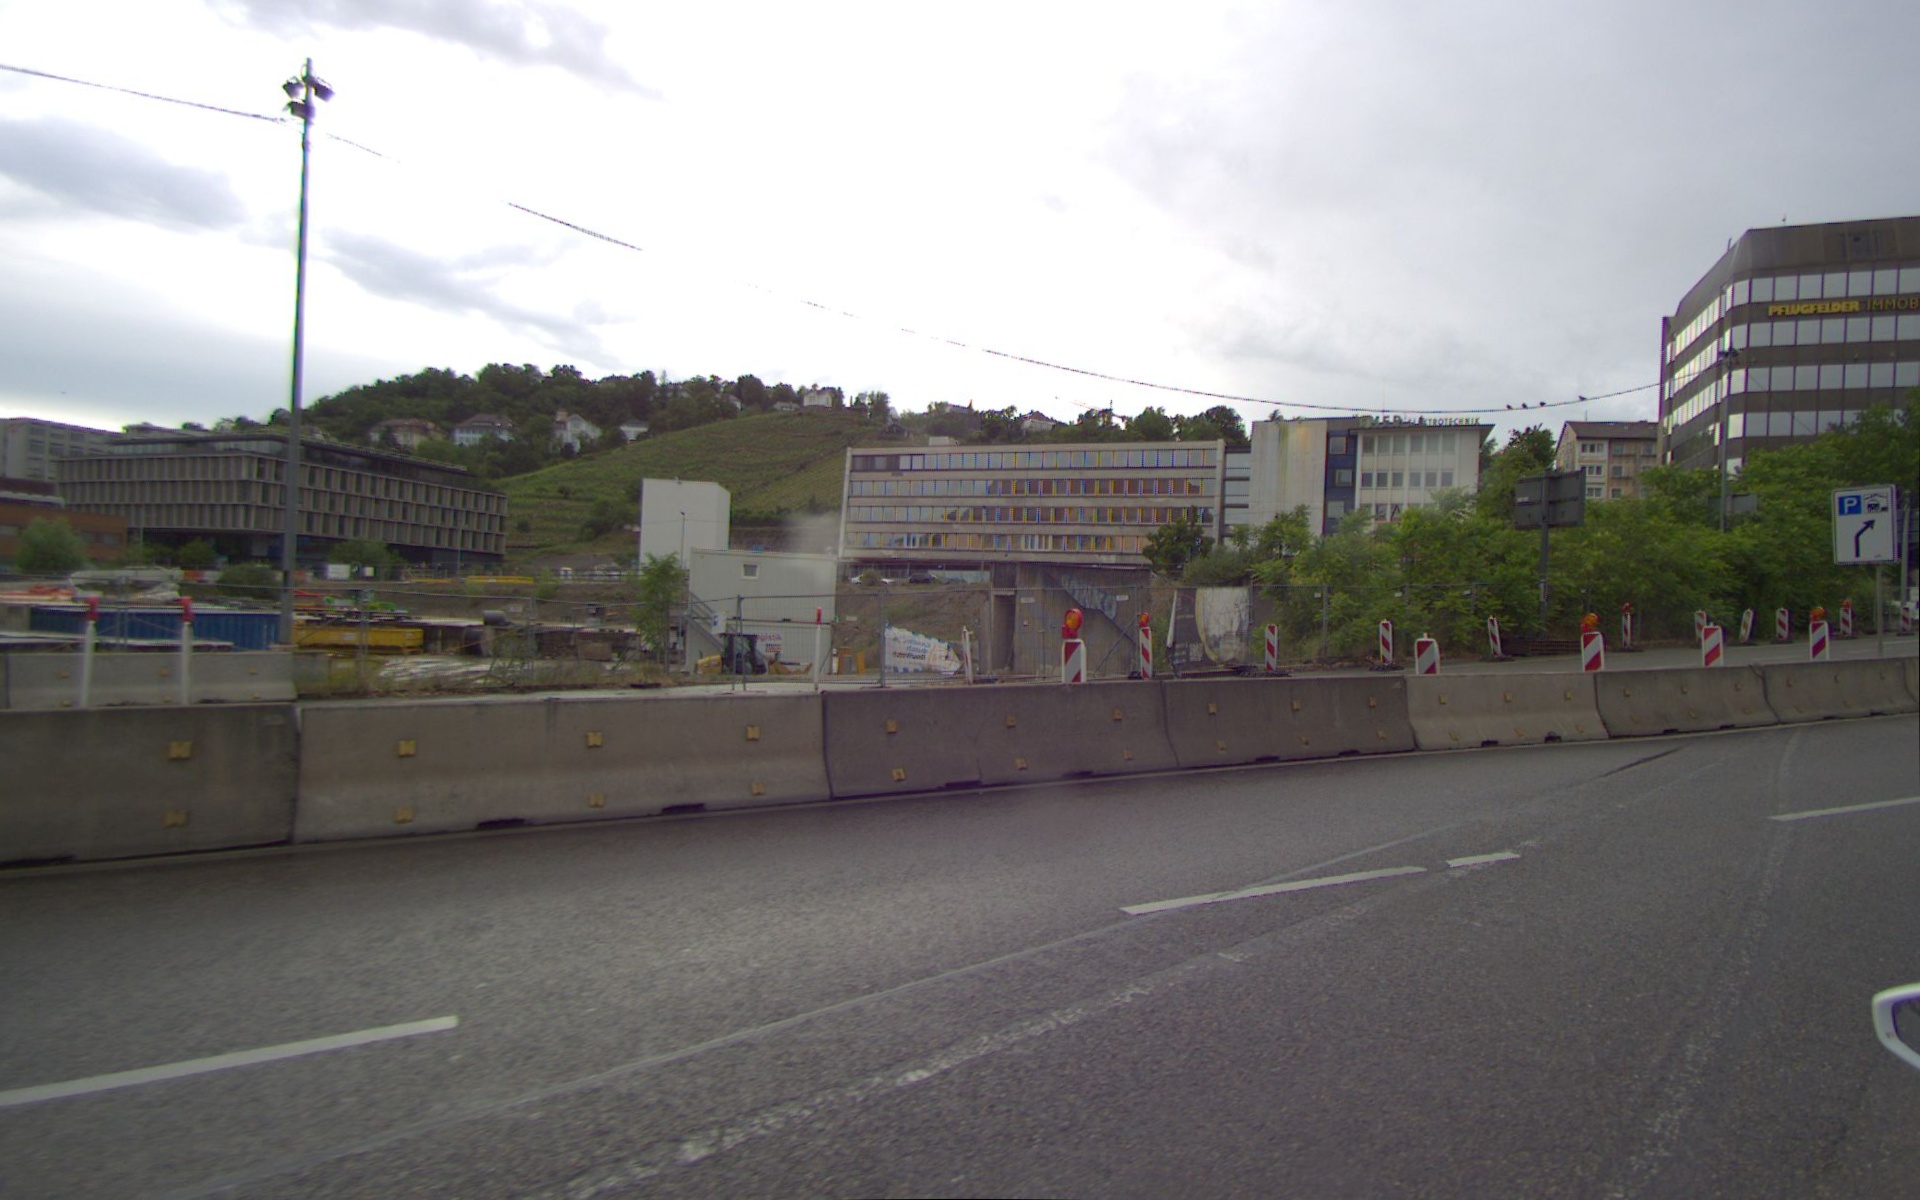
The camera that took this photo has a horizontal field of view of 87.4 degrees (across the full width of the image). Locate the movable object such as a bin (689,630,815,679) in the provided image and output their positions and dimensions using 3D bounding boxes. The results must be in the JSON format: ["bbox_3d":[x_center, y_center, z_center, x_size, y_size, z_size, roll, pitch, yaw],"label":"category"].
[{"bbox_3d":[-7.860,2.053,37.941,4.382,1.698,1.728,2,-1,-22],"label":"movable object such as a bin"}]
